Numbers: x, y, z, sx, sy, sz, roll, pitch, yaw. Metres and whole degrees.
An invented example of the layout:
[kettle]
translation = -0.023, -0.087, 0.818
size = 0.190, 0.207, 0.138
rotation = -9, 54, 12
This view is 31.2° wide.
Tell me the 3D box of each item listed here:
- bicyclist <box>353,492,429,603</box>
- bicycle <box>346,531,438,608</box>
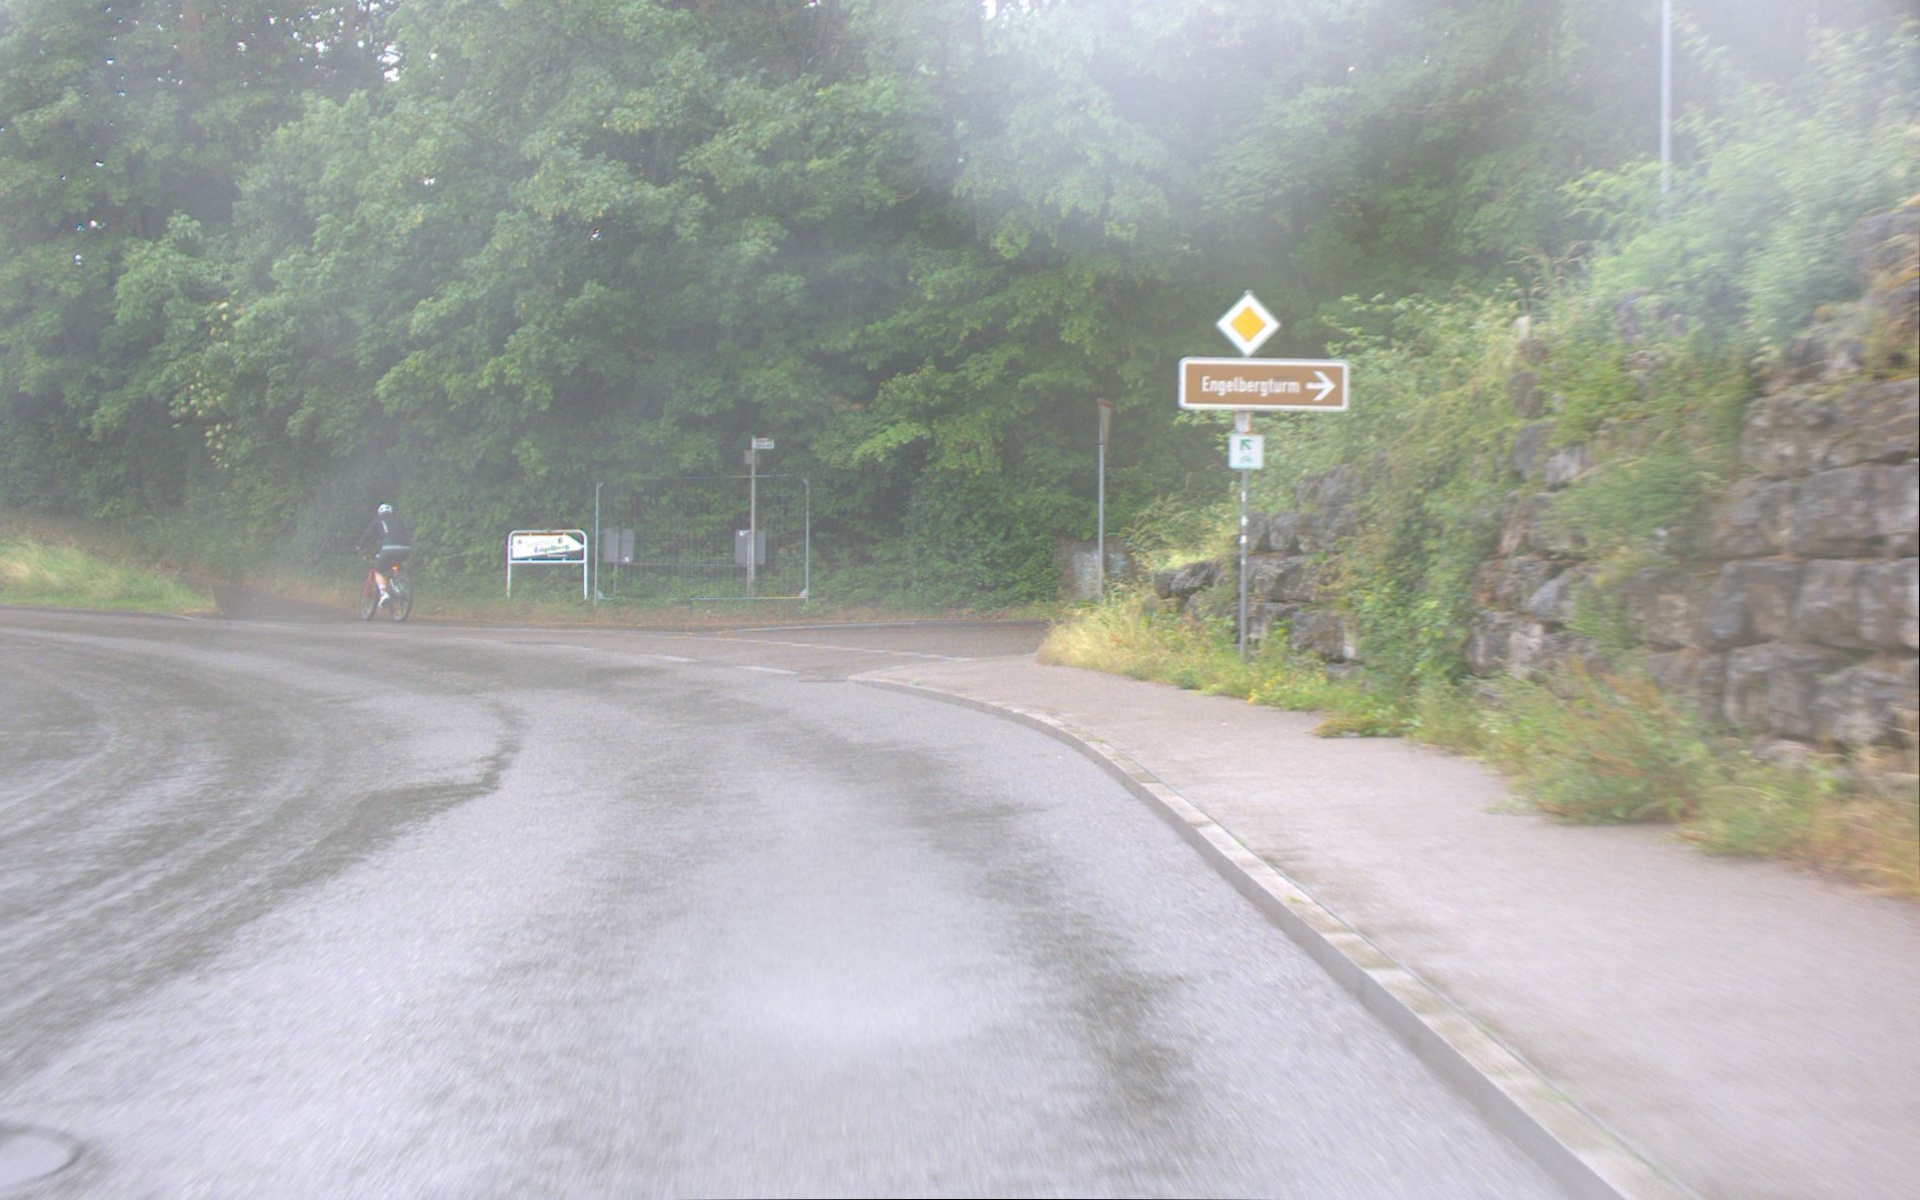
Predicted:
[bicyclist]
translation = -8.436, -0.775, 50.945
size = 0.720, 1.609, 0.905
rotation = 1, 1, -38
[bicycle]
translation = -8.429, -0.460, 50.974
size = 0.527, 1.081, 1.620
rotation = 1, 2, -42
